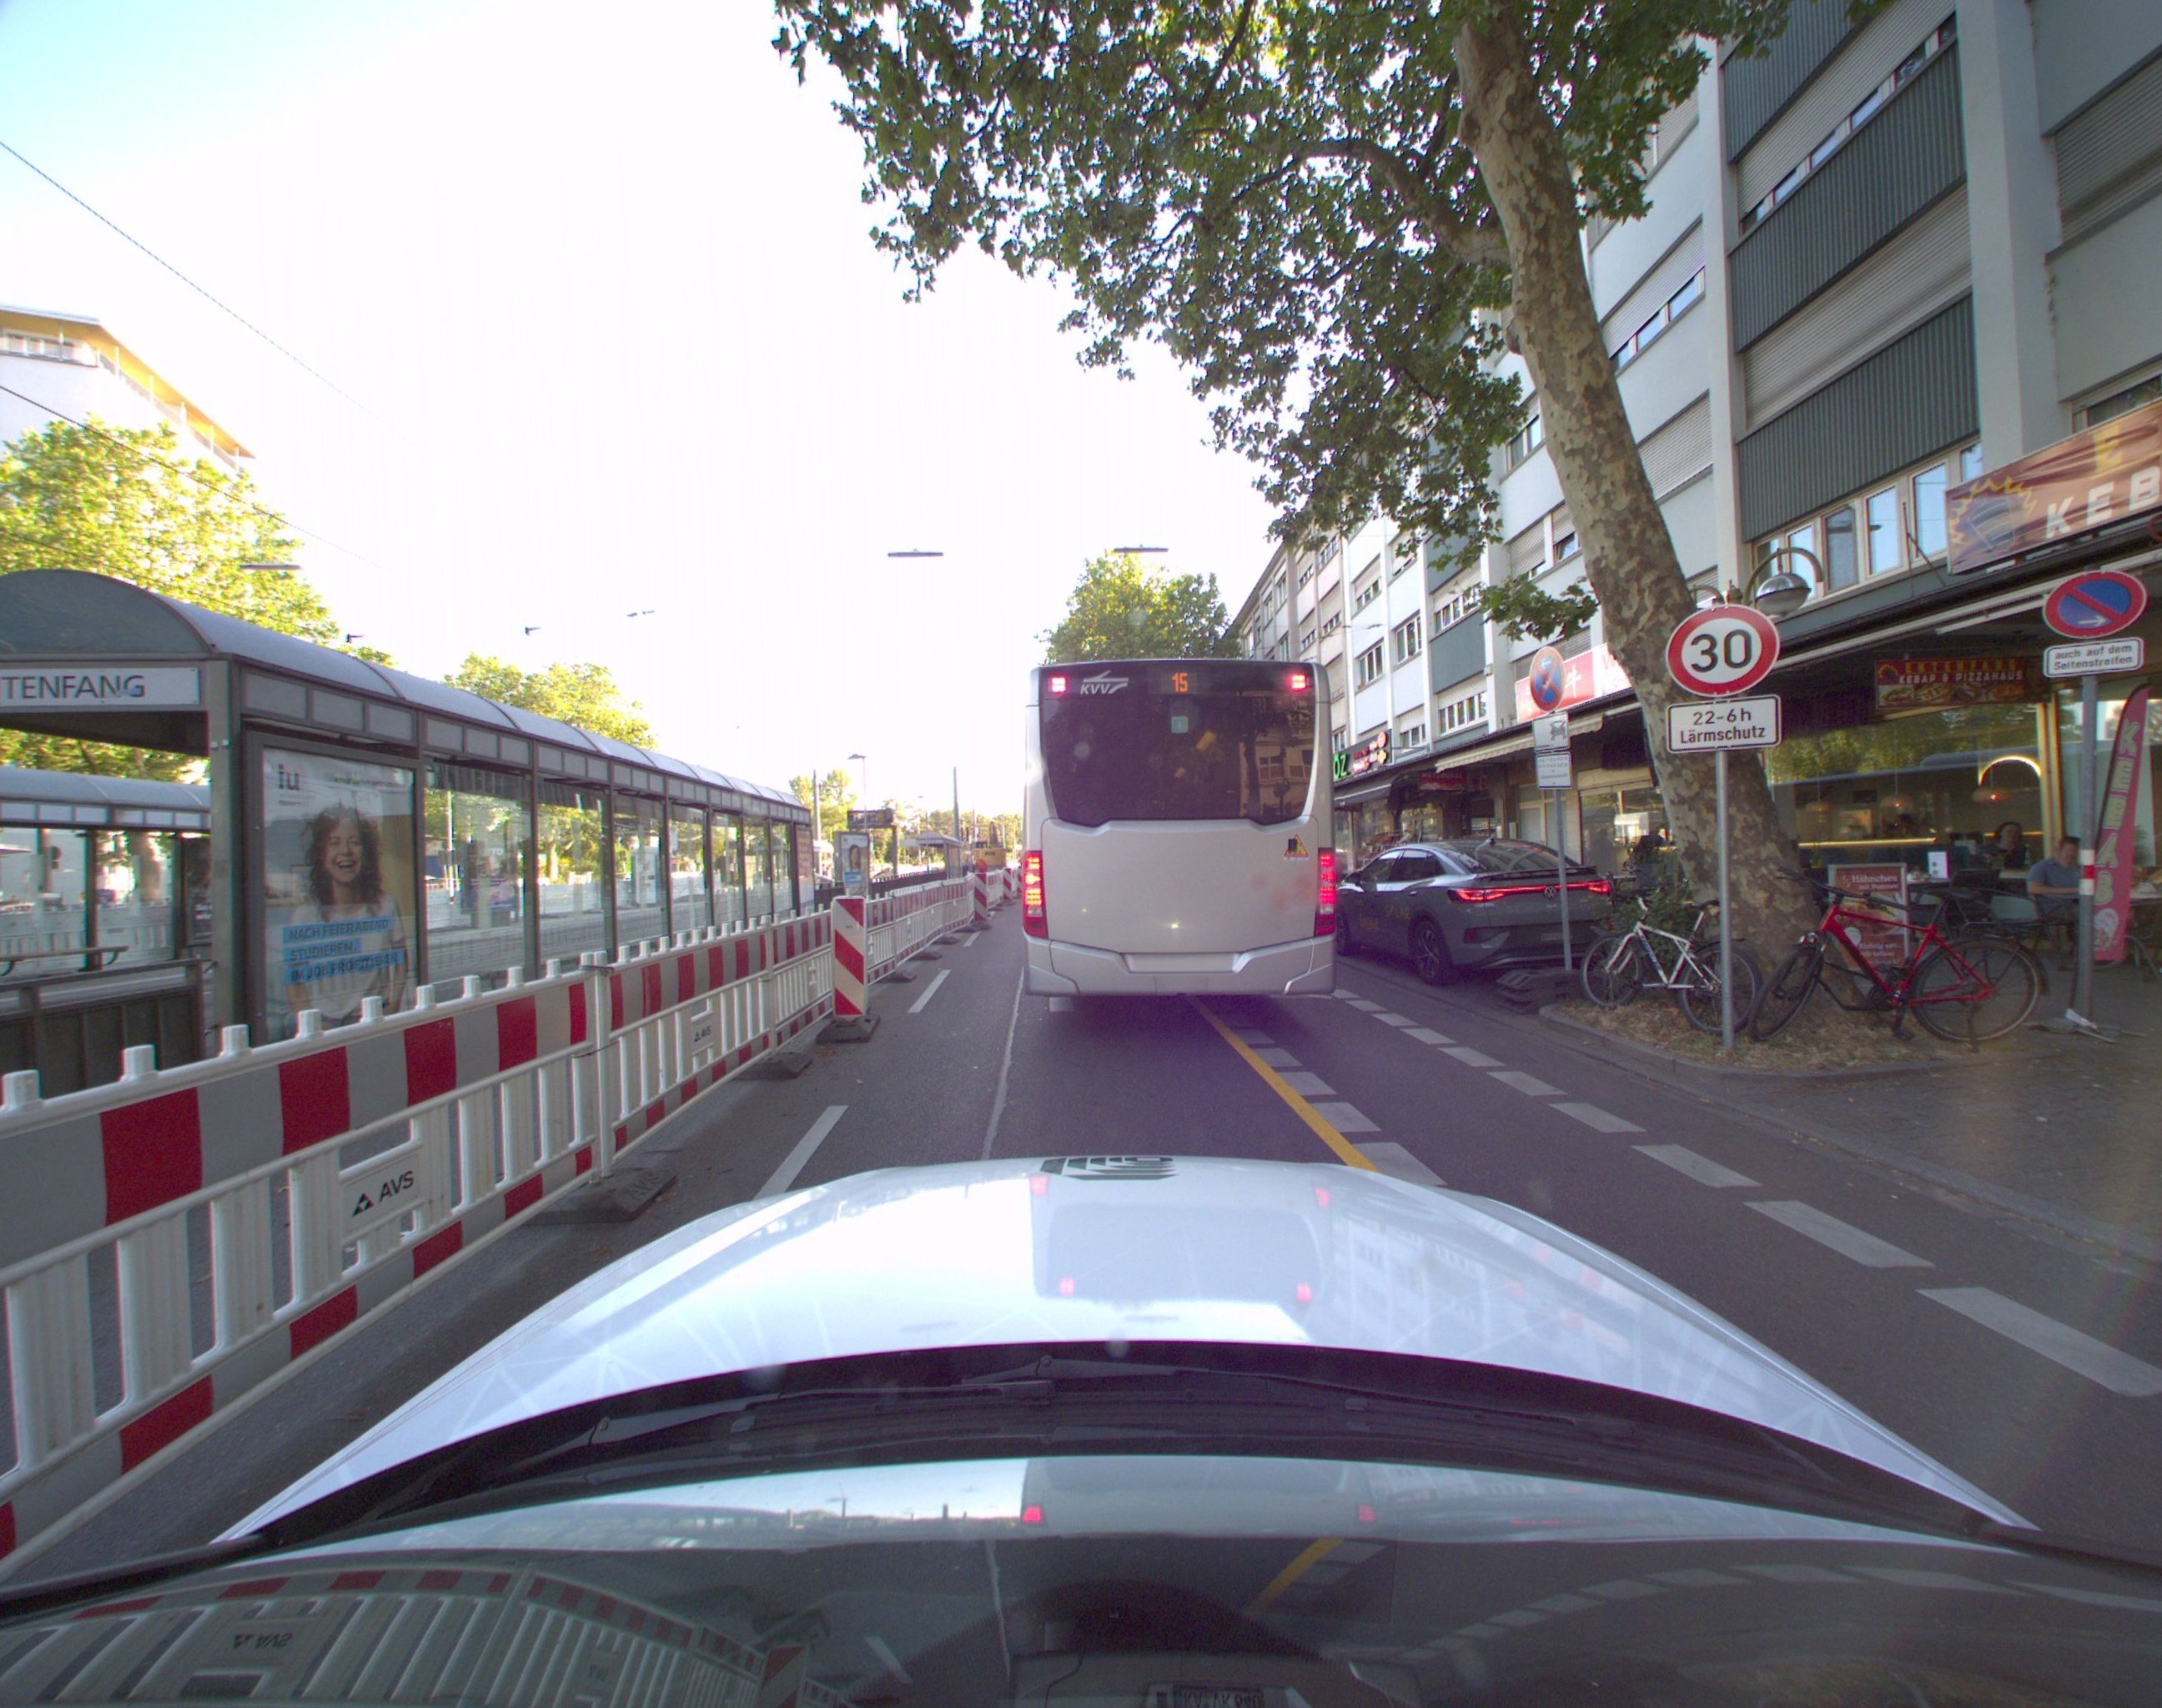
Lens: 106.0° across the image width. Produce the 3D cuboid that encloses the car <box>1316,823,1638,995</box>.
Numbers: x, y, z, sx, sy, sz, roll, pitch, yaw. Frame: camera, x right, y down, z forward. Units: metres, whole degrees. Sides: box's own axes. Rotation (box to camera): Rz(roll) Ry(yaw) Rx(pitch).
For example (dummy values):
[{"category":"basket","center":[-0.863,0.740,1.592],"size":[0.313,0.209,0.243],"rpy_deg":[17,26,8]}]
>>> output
[{"category":"car","center":[4.609,0.562,10.323],"size":[1.736,1.597,4.294],"rpy_deg":[-4,0,-3]}]

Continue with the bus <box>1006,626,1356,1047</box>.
[{"category":"bus","center":[0.960,-0.127,11.381],"size":[2.598,3.170,10.297],"rpy_deg":[-1,0,2]}]

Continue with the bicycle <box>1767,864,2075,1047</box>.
[{"category":"bicycle","center":[5.499,0.676,5.380],"size":[1.450,1.066,0.297],"rpy_deg":[-6,2,13]}]

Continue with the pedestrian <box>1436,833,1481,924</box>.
[{"category":"pedestrian","center":[8.600,0.554,18.570],"size":[0.611,2.014,0.696],"rpy_deg":[-2,-1,-1]}]

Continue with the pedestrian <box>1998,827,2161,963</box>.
[{"category":"pedestrian","center":[9.628,0.382,7.857],"size":[0.673,1.203,0.706],"rpy_deg":[-5,-1,11]}]

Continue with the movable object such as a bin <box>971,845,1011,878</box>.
[{"category":"movable object such as a bin","center":[-7.038,0.596,64.018],"size":[2.800,2.462,3.995],"rpy_deg":[-2,0,-3]}]

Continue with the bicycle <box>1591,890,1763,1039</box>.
[{"category":"bicycle","center":[4.486,0.788,6.199],"size":[0.294,0.927,1.127],"rpy_deg":[-6,2,-8]}]

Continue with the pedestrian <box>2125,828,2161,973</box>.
[{"category":"pedestrian","center":[9.566,0.386,6.820],"size":[0.612,1.243,0.714],"rpy_deg":[-5,-1,11]}]

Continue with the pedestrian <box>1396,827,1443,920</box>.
[{"category":"pedestrian","center":[7.606,0.434,18.336],"size":[0.689,2.014,0.696],"rpy_deg":[-2,-1,-2]}]
